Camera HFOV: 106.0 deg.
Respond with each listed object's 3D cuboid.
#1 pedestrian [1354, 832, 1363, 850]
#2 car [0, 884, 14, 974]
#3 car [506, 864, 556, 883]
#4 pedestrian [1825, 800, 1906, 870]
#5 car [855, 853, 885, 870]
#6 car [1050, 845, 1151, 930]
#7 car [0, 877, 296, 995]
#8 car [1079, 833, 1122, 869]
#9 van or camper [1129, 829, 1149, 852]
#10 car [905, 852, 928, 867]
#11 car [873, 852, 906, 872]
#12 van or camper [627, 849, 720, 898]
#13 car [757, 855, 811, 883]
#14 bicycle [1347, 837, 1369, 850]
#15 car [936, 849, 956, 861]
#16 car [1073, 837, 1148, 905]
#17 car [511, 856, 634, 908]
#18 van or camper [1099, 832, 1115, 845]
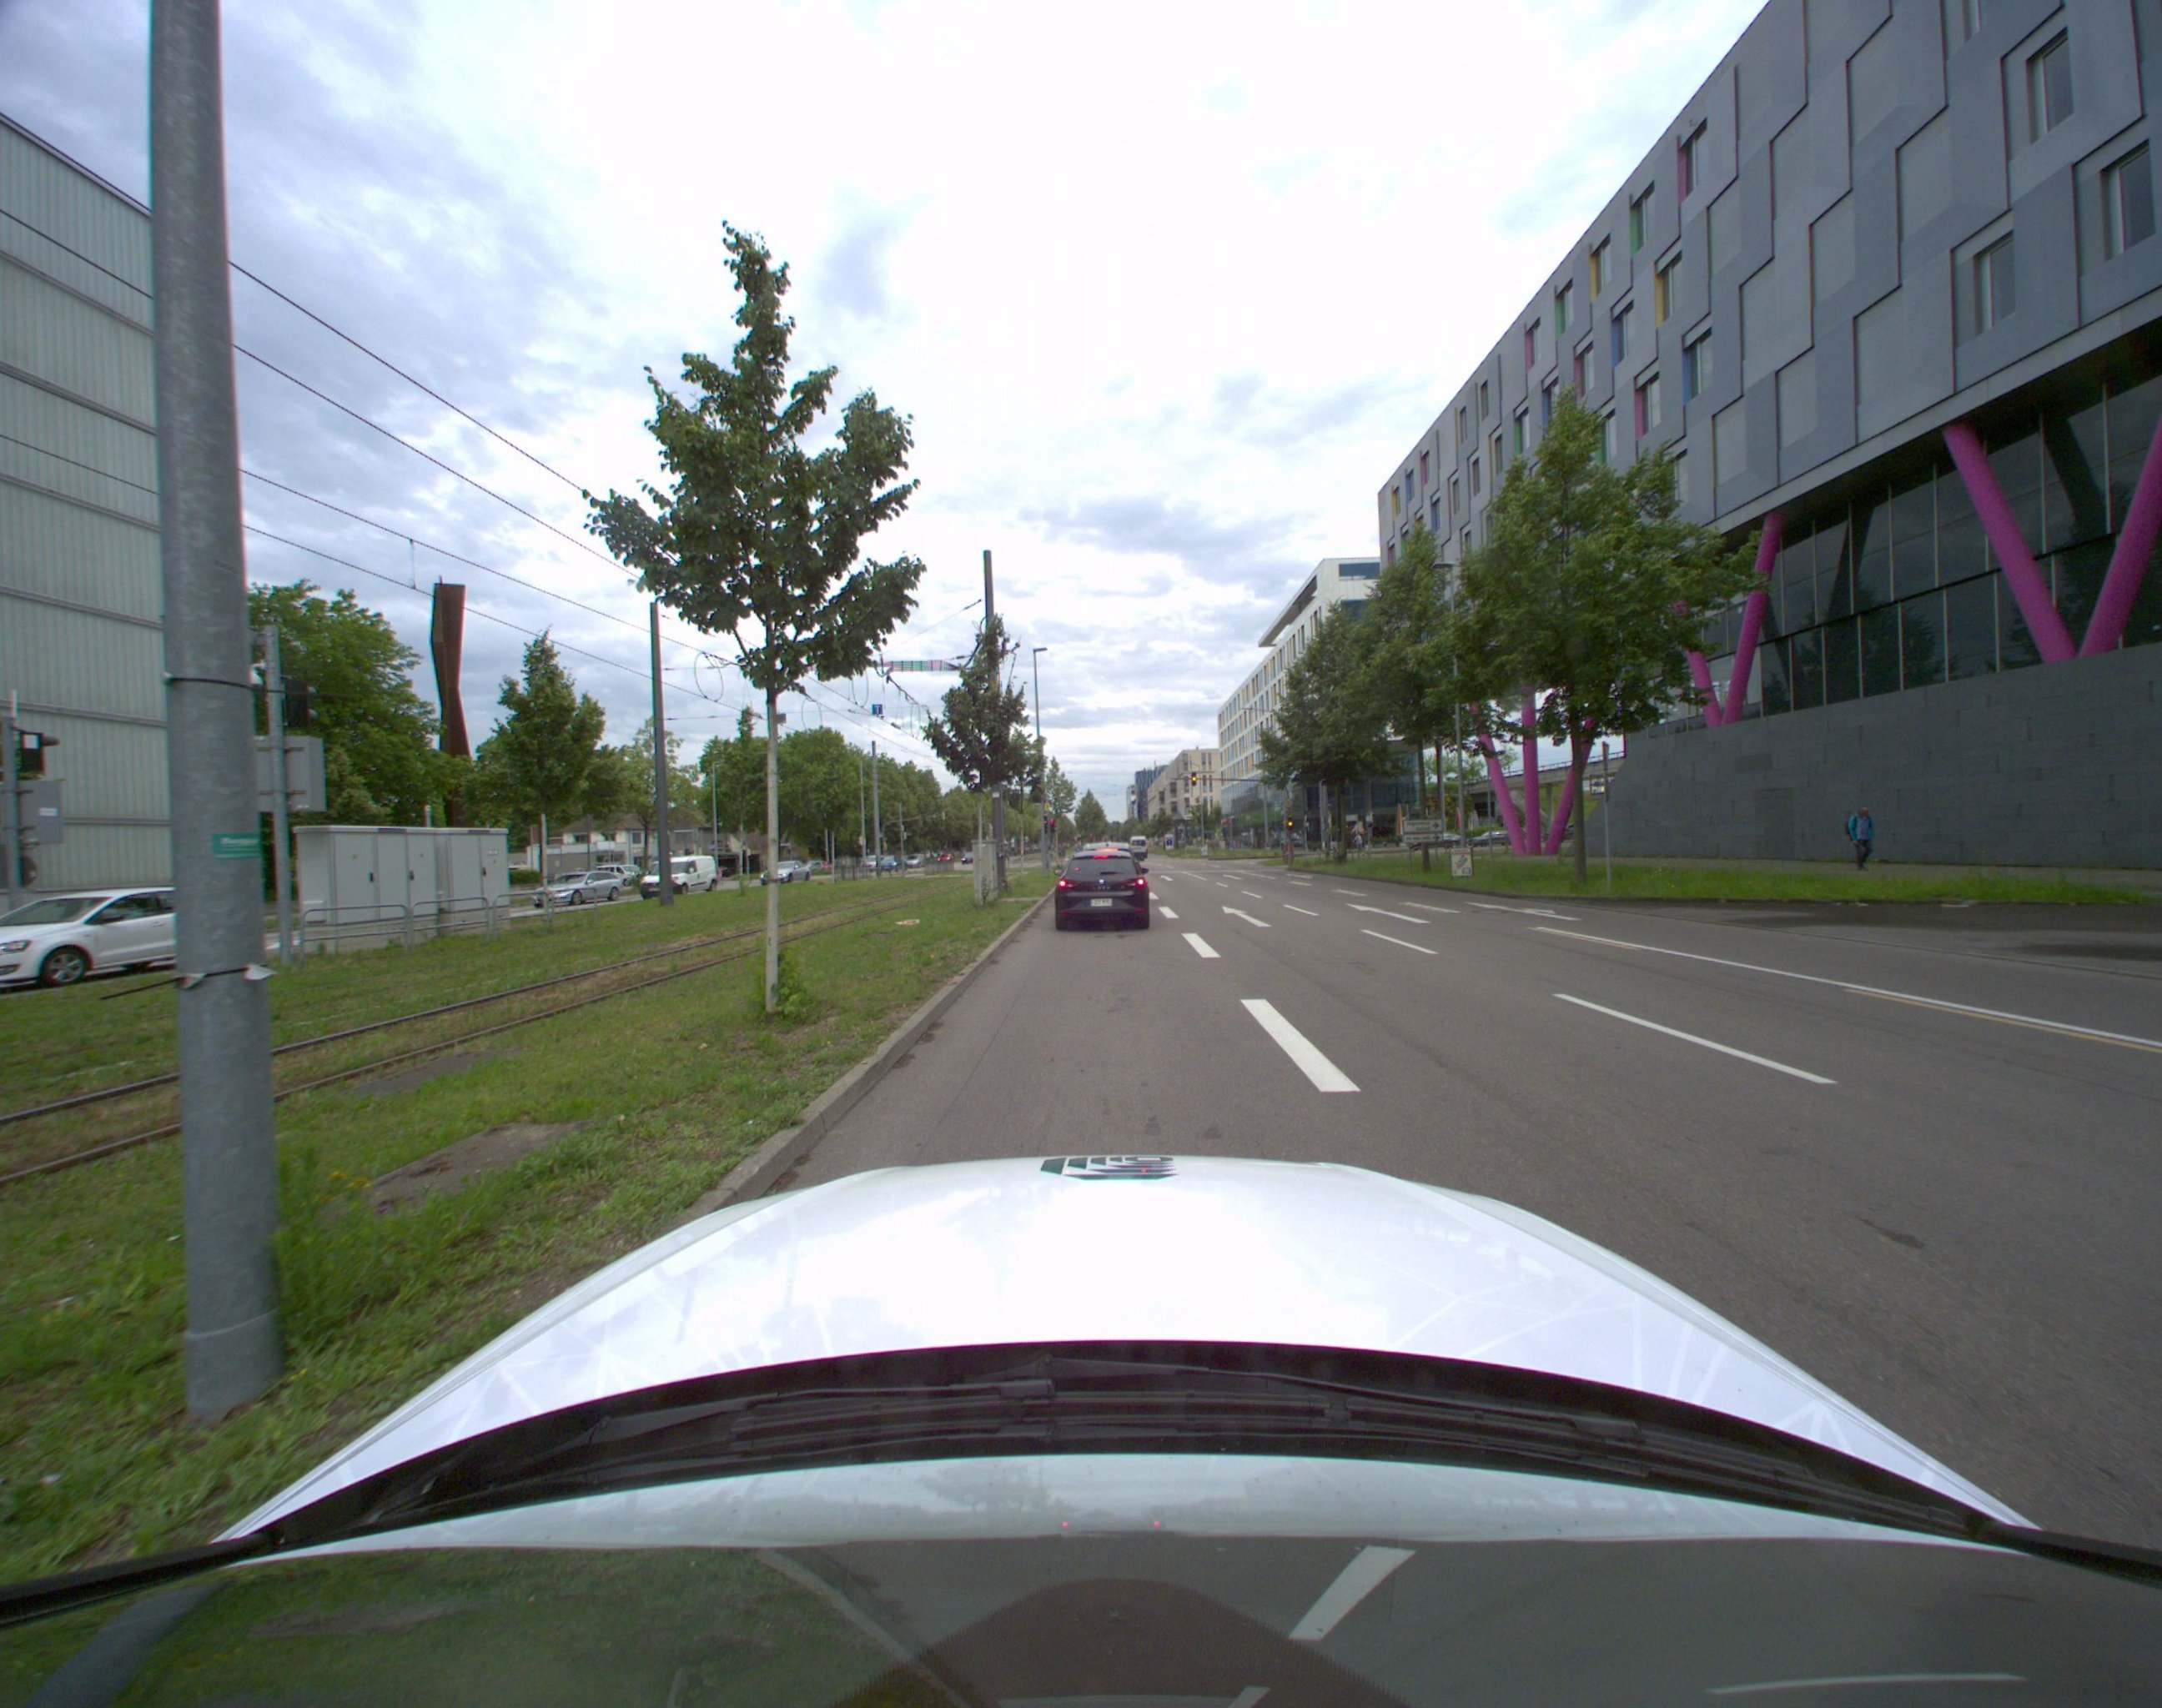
[{"bbox_3d":[26.047,-1.239,76.473,0.612,1.604,0.619,-2,1,4],"label":"pedestrian"},{"bbox_3d":[-22.939,1.608,14.182,1.986,1.823,4.970,-2,1,2],"label":"car"},{"bbox_3d":[-59.360,2.095,87.867,3.969,1.848,2.003,-2,1,4],"label":"car"},{"bbox_3d":[21.102,-0.515,21.935,1.047,1.770,1.138,-3,1,2],"label":"pedestrian"},{"bbox_3d":[-20.562,0.734,79.598,1.790,1.570,4.578,0,0,0],"label":"car"},{"bbox_3d":[0.381,0.567,16.213,1.737,1.417,4.001,-1,1,1],"label":"car"},{"bbox_3d":[-16.379,1.281,13.783,1.758,1.479,4.569,-3,1,-2],"label":"car"},{"bbox_3d":[1.069,-0.195,41.848,1.985,1.681,4.005,-1,1,4],"label":"car"},{"bbox_3d":[6.542,-1.524,92.432,2.101,2.355,4.927,-2,3,2],"label":"van or camper"},{"bbox_3d":[-19.103,0.607,94.839,1.715,1.643,4.674,-3,1,0],"label":"car"},{"bbox_3d":[-17.704,0.722,75.350,1.958,1.588,4.687,-2,1,-1],"label":"car"},{"bbox_3d":[-18.288,0.804,36.852,1.886,1.900,5.116,-4,1,-5],"label":"van or camper"},{"bbox_3d":[-18.656,0.903,51.415,1.724,1.445,4.918,-4,2,-3],"label":"car"},{"bbox_3d":[25.993,-0.974,76.479,1.784,1.085,0.618,-2,1,3],"label":"bicycle"},{"bbox_3d":[-19.118,0.171,115.376,1.789,1.570,4.331,-2,1,3],"label":"car"},{"bbox_3d":[0.789,0.385,22.313,1.796,1.624,4.002,-2,1,2],"label":"car"},{"bbox_3d":[-22.841,1.185,36.911,1.986,2.013,5.298,-2,1,2],"label":"car"},{"bbox_3d":[3.512,-2.067,109.561,1.986,1.615,4.792,-2,2,2],"label":"van or camper"}]
